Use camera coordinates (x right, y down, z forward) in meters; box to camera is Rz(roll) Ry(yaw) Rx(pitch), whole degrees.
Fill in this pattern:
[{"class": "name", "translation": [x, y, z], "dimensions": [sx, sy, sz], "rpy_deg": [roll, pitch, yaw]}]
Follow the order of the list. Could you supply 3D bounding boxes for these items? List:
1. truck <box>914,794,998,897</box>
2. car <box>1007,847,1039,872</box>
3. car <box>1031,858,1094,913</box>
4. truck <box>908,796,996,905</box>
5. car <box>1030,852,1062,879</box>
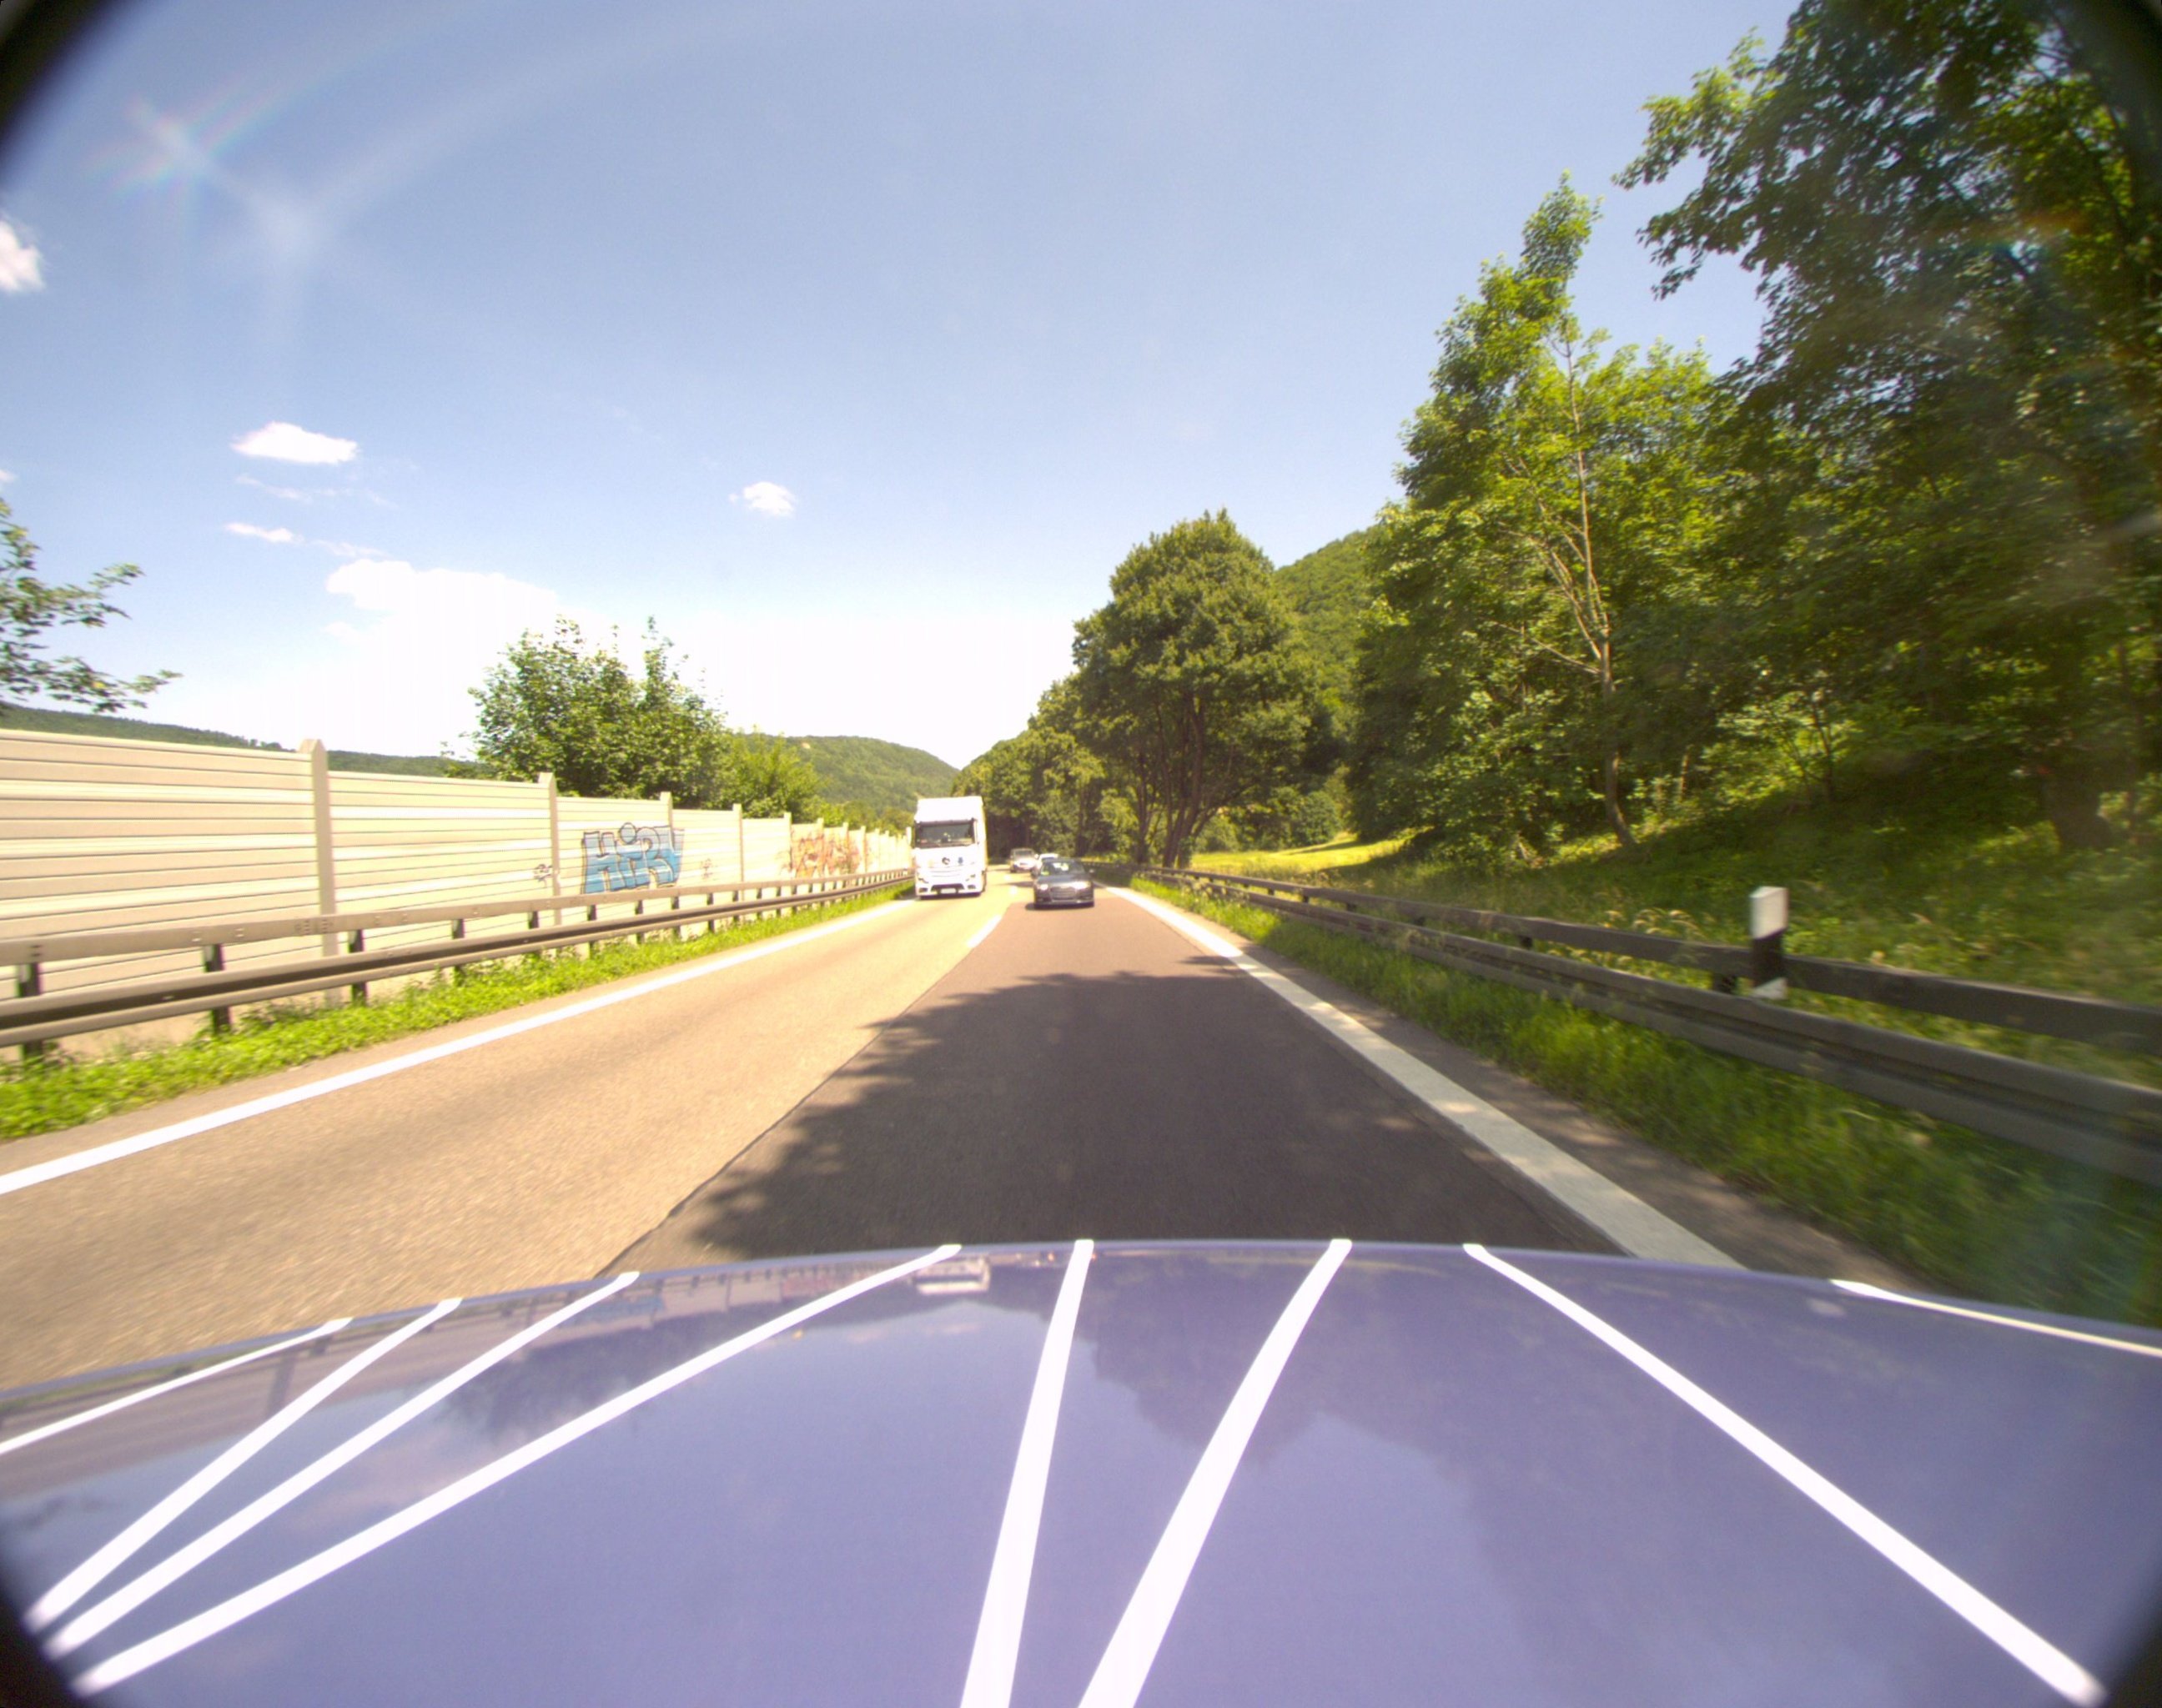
[{"class": "truck", "translation": [-5.788, -0.391, 37.225], "dimensions": [2.863, 4.124, 12.040], "rpy_deg": [-2, 1, -5]}, {"class": "car", "translation": [-4.750, 0.437, 61.494], "dimensions": [2.045, 1.855, 3.996], "rpy_deg": [-2, 0, -11]}, {"class": "car", "translation": [-0.514, 0.884, 22.207], "dimensions": [1.662, 1.435, 3.475], "rpy_deg": [-1, -1, -1]}, {"class": "truck", "translation": [-5.279, -0.175, 32.306], "dimensions": [2.765, 4.015, 6.820], "rpy_deg": [-3, 1, -4]}, {"class": "car", "translation": [-2.176, 0.682, 46.392], "dimensions": [1.716, 1.541, 3.998], "rpy_deg": [-2, 0, -5]}]
